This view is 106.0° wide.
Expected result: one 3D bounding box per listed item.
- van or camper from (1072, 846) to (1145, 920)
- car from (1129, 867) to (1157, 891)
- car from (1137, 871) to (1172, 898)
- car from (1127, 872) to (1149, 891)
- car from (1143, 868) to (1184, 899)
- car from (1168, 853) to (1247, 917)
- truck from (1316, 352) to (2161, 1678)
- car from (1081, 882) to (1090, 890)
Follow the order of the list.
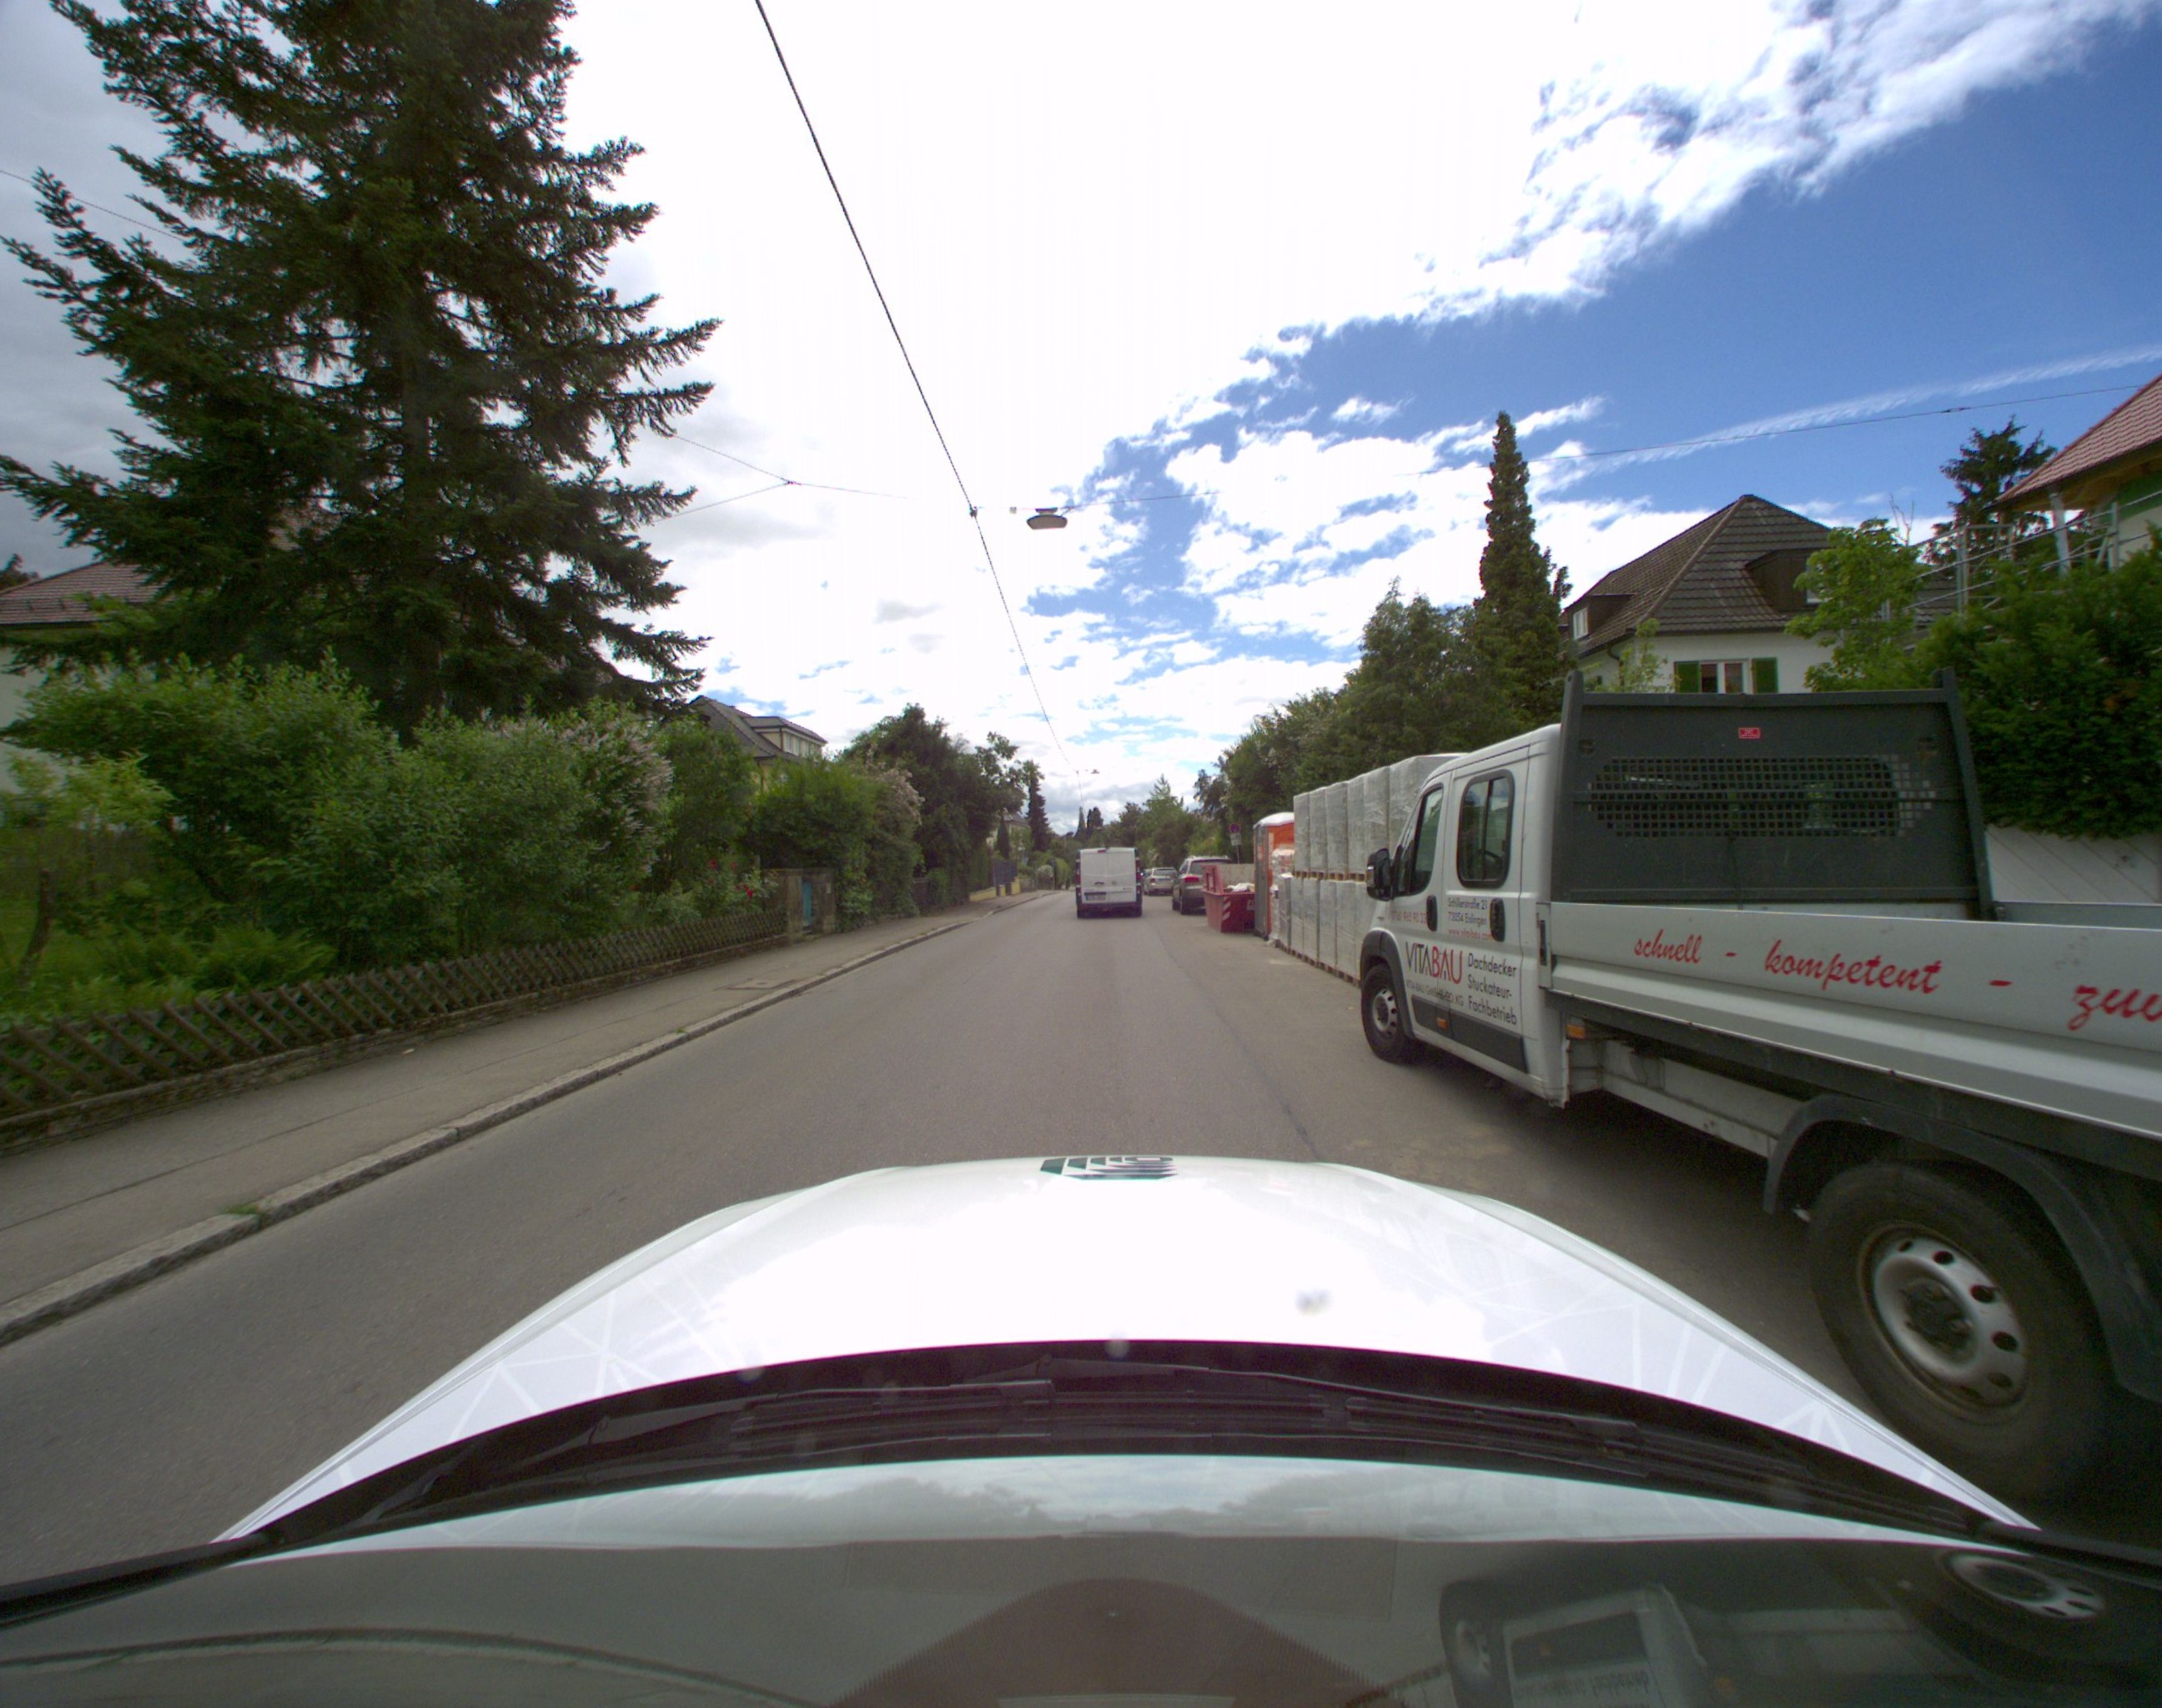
[{"bbox_3d":[0.797,0.842,24.418,1.932,1.954,4.765,-1,-2,1],"label":"van or camper"},{"bbox_3d":[4.485,1.820,59.806,1.738,1.629,4.259,-3,-1,1],"label":"car"},{"bbox_3d":[4.350,1.765,48.778,1.738,1.447,4.259,-3,-1,1],"label":"car"},{"bbox_3d":[5.130,2.458,73.786,1.738,1.629,4.259,-3,-1,1],"label":"car"},{"bbox_3d":[4.335,1.530,43.168,1.738,1.447,4.259,-3,-1,1],"label":"car"},{"bbox_3d":[3.704,0.886,24.548,1.738,1.675,4.185,-3,-1,1],"label":"car"},{"bbox_3d":[3.165,0.309,3.762,2.179,2.472,7.432,-1,0,2],"label":"truck"},{"bbox_3d":[0.900,6.697,171.813,1.738,1.526,4.012,-3,-1,1],"label":"car"}]
